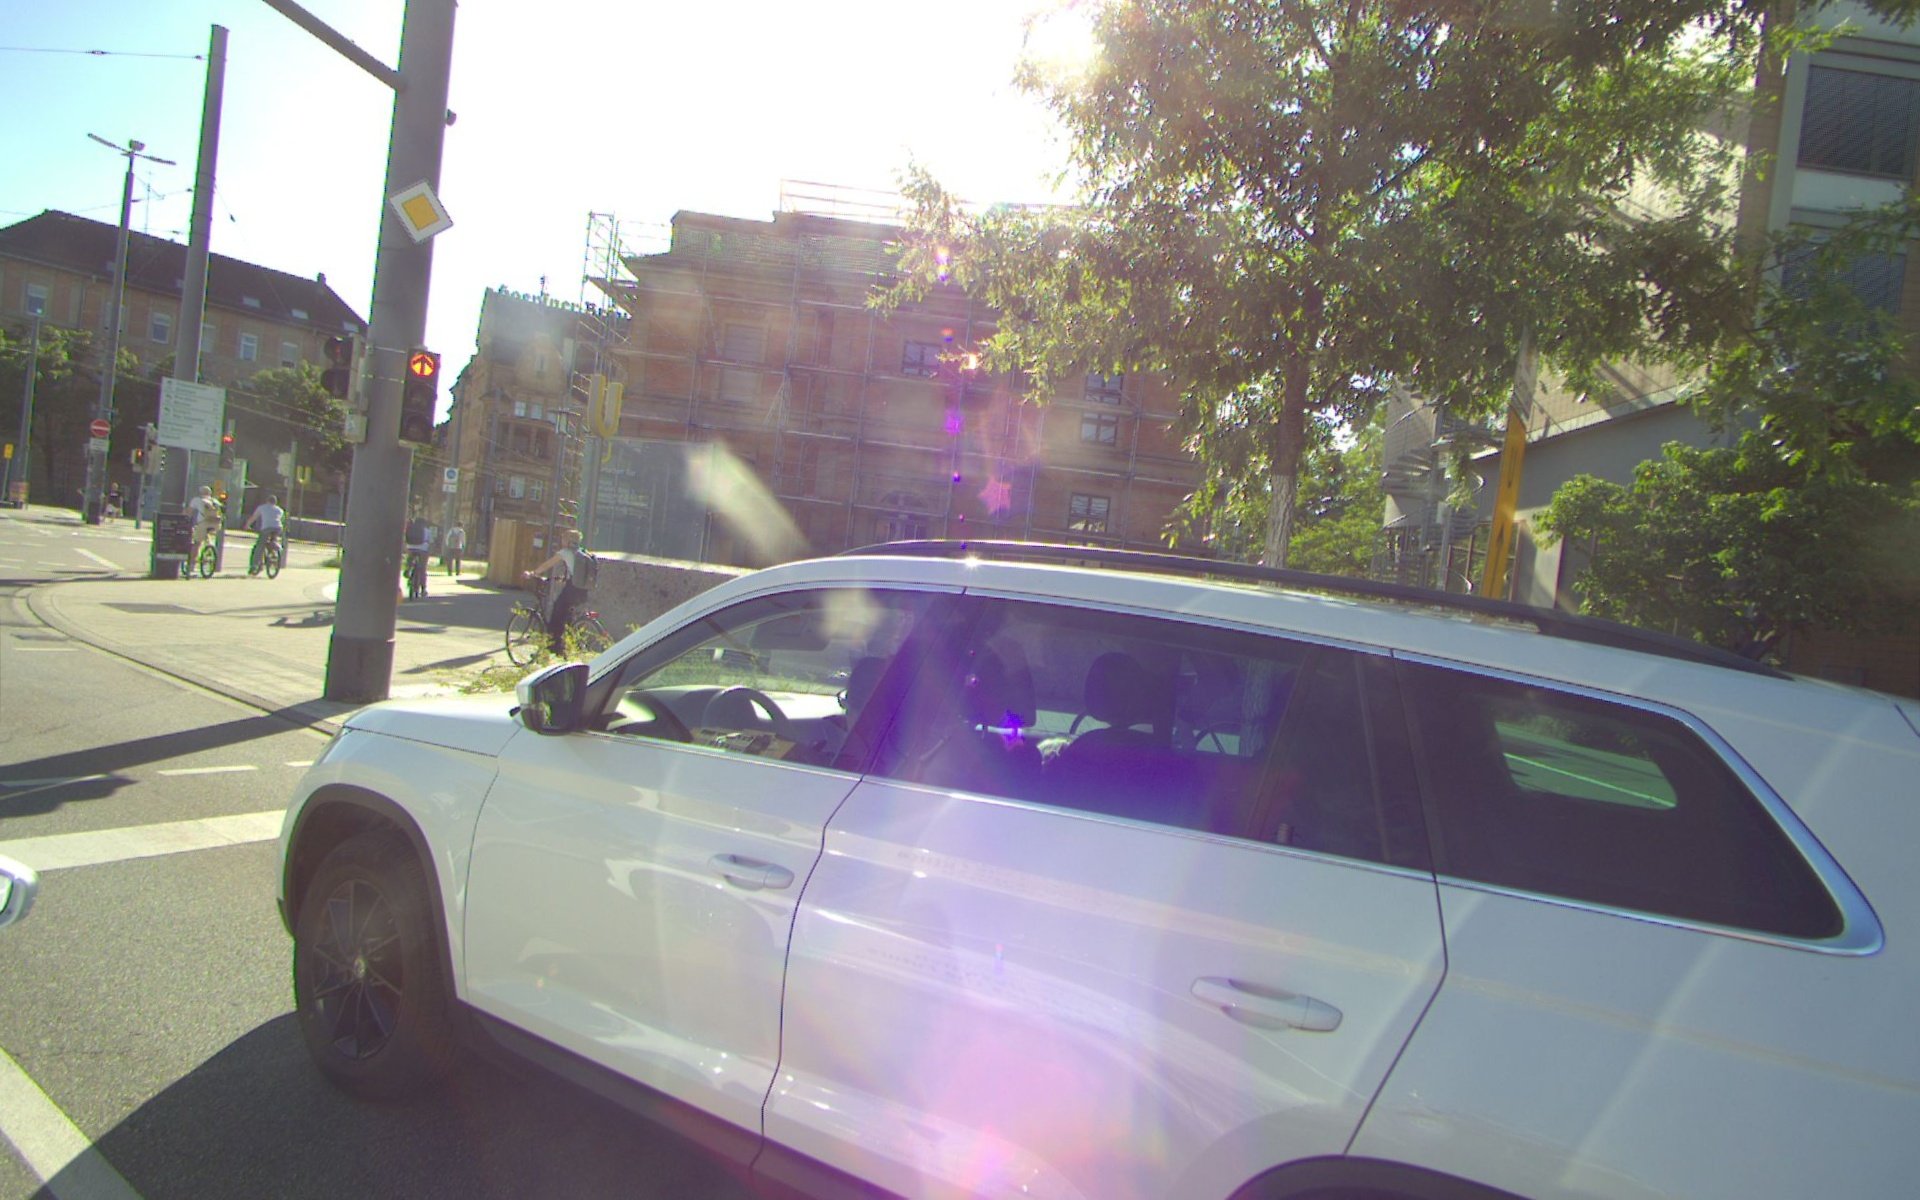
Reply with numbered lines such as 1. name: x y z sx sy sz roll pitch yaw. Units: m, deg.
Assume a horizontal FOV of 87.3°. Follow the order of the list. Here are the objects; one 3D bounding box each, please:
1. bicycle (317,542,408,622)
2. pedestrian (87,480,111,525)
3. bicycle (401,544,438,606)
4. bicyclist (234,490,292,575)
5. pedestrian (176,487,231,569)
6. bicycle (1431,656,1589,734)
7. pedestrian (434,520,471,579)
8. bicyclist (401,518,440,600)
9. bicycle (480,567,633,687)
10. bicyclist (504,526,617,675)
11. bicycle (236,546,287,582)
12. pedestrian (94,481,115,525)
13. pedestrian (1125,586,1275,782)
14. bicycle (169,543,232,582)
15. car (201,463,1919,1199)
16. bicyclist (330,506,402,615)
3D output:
1. bicycle: -9.695 -0.308 16.296 1.823 1.129 0.624 7 4 38
2. pedestrian: -41.072 -4.659 48.005 0.443 2.039 0.574 7 1 14
3. bicycle: -11.027 -0.535 20.516 0.567 1.140 1.727 5 1 -29
4. bicyclist: -15.772 -1.525 22.766 0.910 1.802 0.746 8 2 39
5. pedestrian: -15.618 -1.491 20.774 0.844 1.582 0.548 7 1 35
6. bicycle: 13.072 2.246 24.007 3.079 1.395 0.798 7 1 8
7. pedestrian: -17.332 -1.718 34.347 0.887 1.883 0.922 6 1 -23
8. bicyclist: -10.950 -0.841 20.430 0.567 1.589 0.939 5 2 -29
9. bicycle: -4.786 0.296 11.879 1.853 1.179 0.685 7 2 34
10. bicyclist: -4.700 0.007 11.827 0.961 1.619 0.685 7 2 34
11. bicycle: -15.843 -0.825 22.818 1.446 0.664 0.536 7 2 39
12. pedestrian: -41.445 -4.696 48.735 0.443 2.039 0.462 7 2 14
13. pedestrian: 1.943 0.650 8.156 0.945 1.421 0.516 7 3 30
14. bicycle: -15.755 -0.783 20.865 1.698 0.664 0.536 7 3 35
15. car: 0.024 0.694 2.693 4.224 1.662 1.697 7 0 30
16. bicyclist: -9.568 -0.630 16.197 0.980 1.660 0.624 7 4 38
